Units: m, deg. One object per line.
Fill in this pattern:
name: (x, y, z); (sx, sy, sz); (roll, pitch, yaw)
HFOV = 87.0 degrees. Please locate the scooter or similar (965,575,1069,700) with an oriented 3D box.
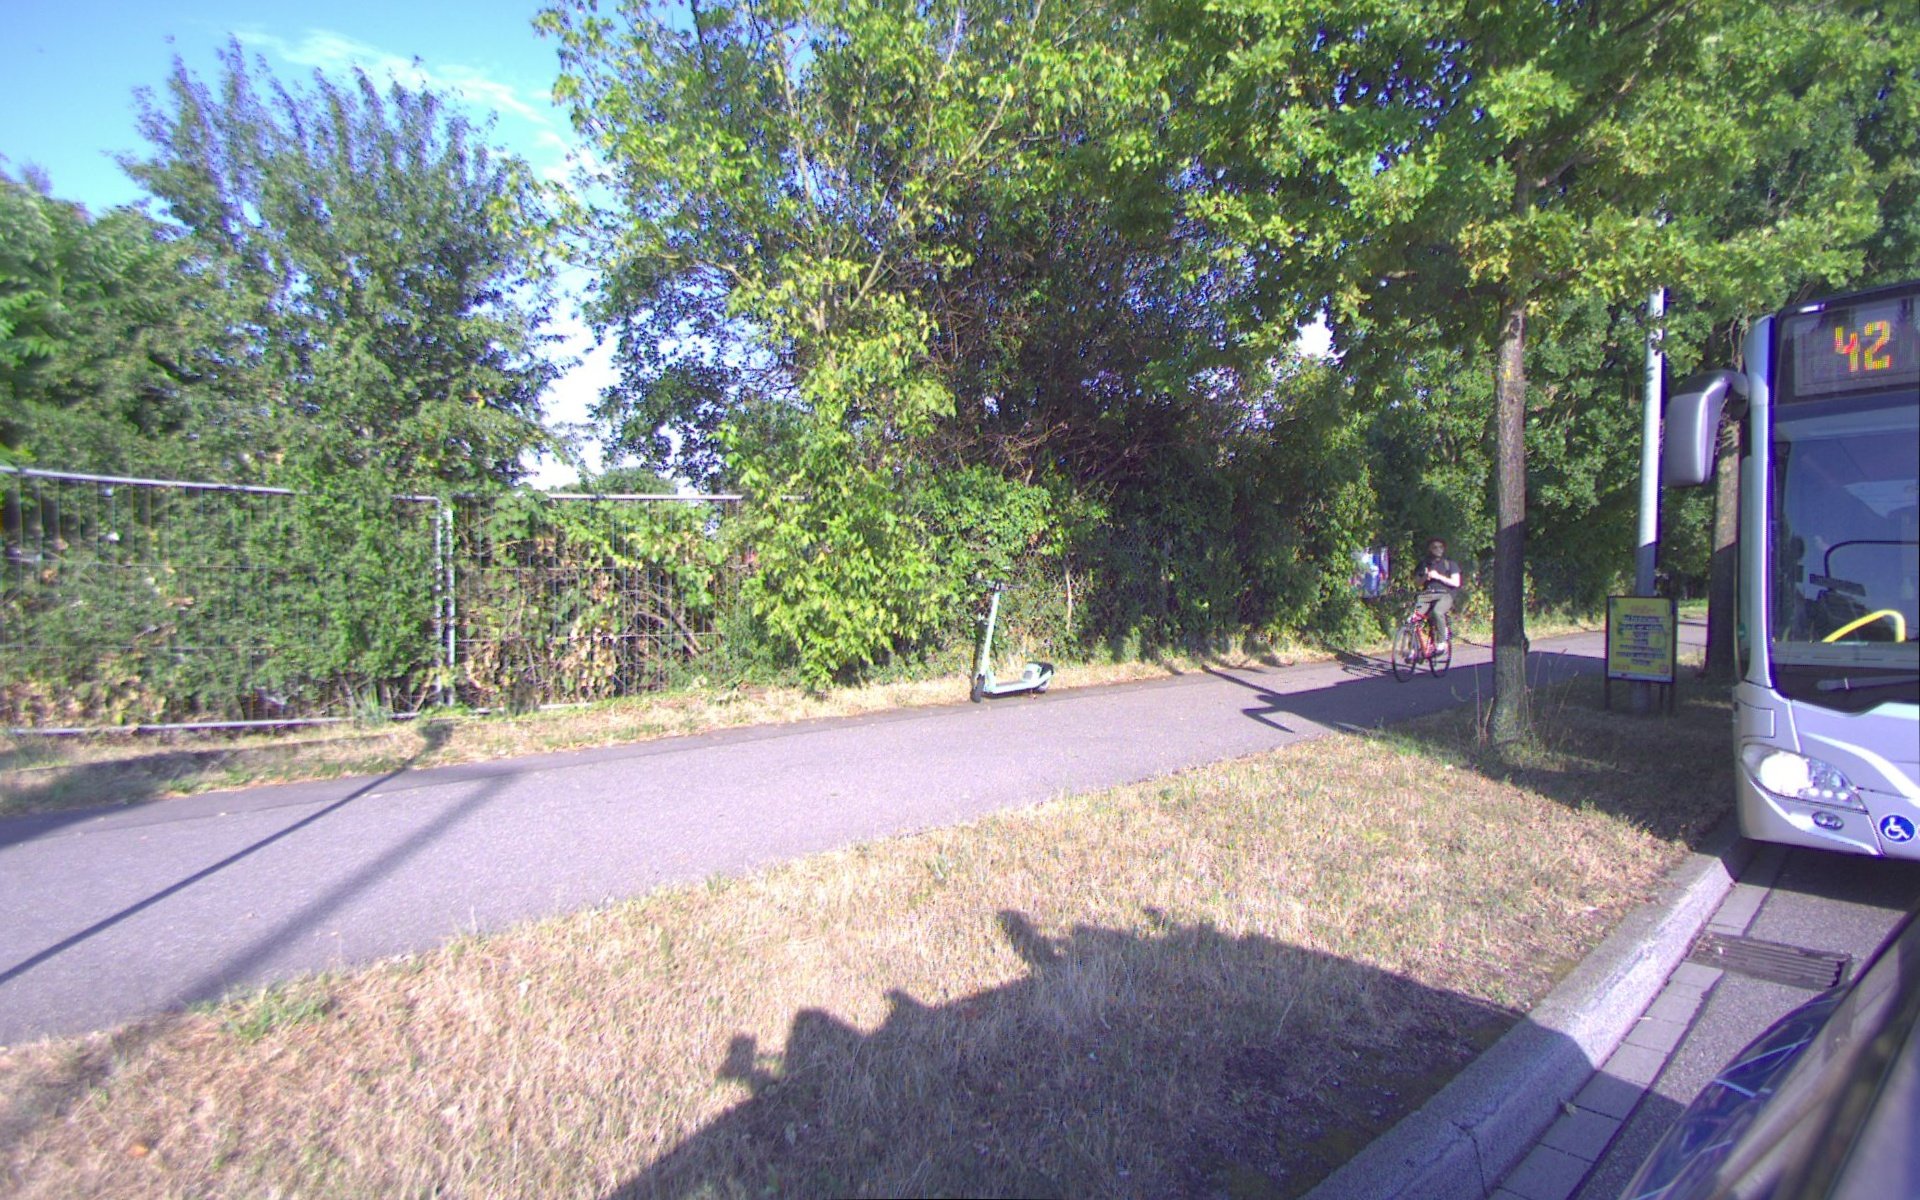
scooter or similar: (0.562, 0.341, 9.775); (1.076, 1.139, 0.249); (0, 4, -41)

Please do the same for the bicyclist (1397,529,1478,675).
bicyclist: (6.304, 0.008, 13.363); (0.816, 1.852, 0.620); (-1, 4, -43)

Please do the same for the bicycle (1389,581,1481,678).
bicycle: (6.252, 0.374, 13.269); (1.860, 1.172, 0.415); (1, 3, -45)

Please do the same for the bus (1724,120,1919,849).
bus: (8.474, -0.513, 8.023); (2.588, 3.081, 11.535); (1, 1, 43)
